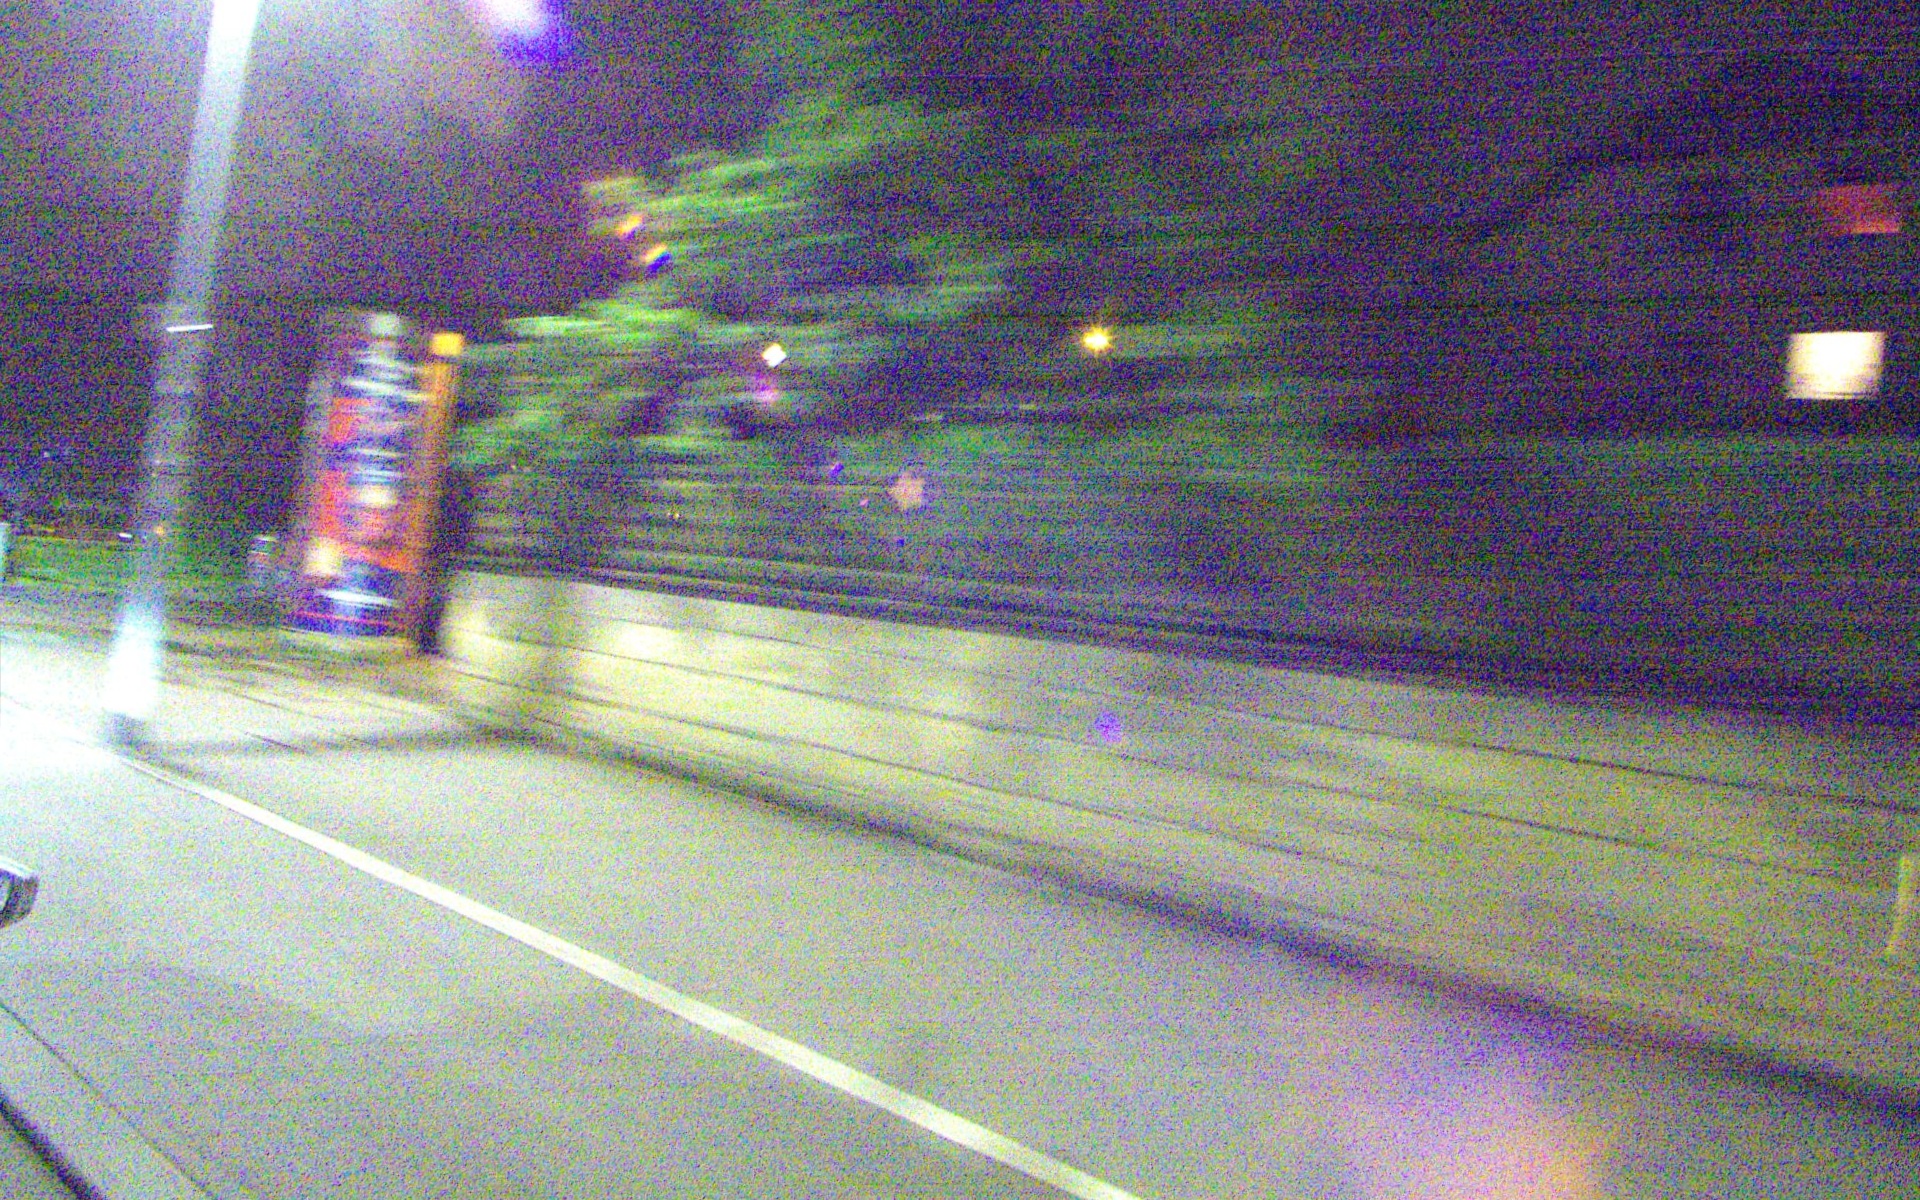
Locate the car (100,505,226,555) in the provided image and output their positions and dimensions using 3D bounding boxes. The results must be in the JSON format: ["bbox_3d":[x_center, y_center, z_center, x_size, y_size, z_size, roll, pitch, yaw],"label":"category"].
[{"bbox_3d":[-33.366,-2.903,42.227,1.829,1.497,3.633,8,0,16],"label":"car"}]

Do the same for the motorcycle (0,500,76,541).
[{"bbox_3d":[-35.169,-3.007,38.222,0.698,1.229,2.267,7,0,16],"label":"motorcycle"}]
